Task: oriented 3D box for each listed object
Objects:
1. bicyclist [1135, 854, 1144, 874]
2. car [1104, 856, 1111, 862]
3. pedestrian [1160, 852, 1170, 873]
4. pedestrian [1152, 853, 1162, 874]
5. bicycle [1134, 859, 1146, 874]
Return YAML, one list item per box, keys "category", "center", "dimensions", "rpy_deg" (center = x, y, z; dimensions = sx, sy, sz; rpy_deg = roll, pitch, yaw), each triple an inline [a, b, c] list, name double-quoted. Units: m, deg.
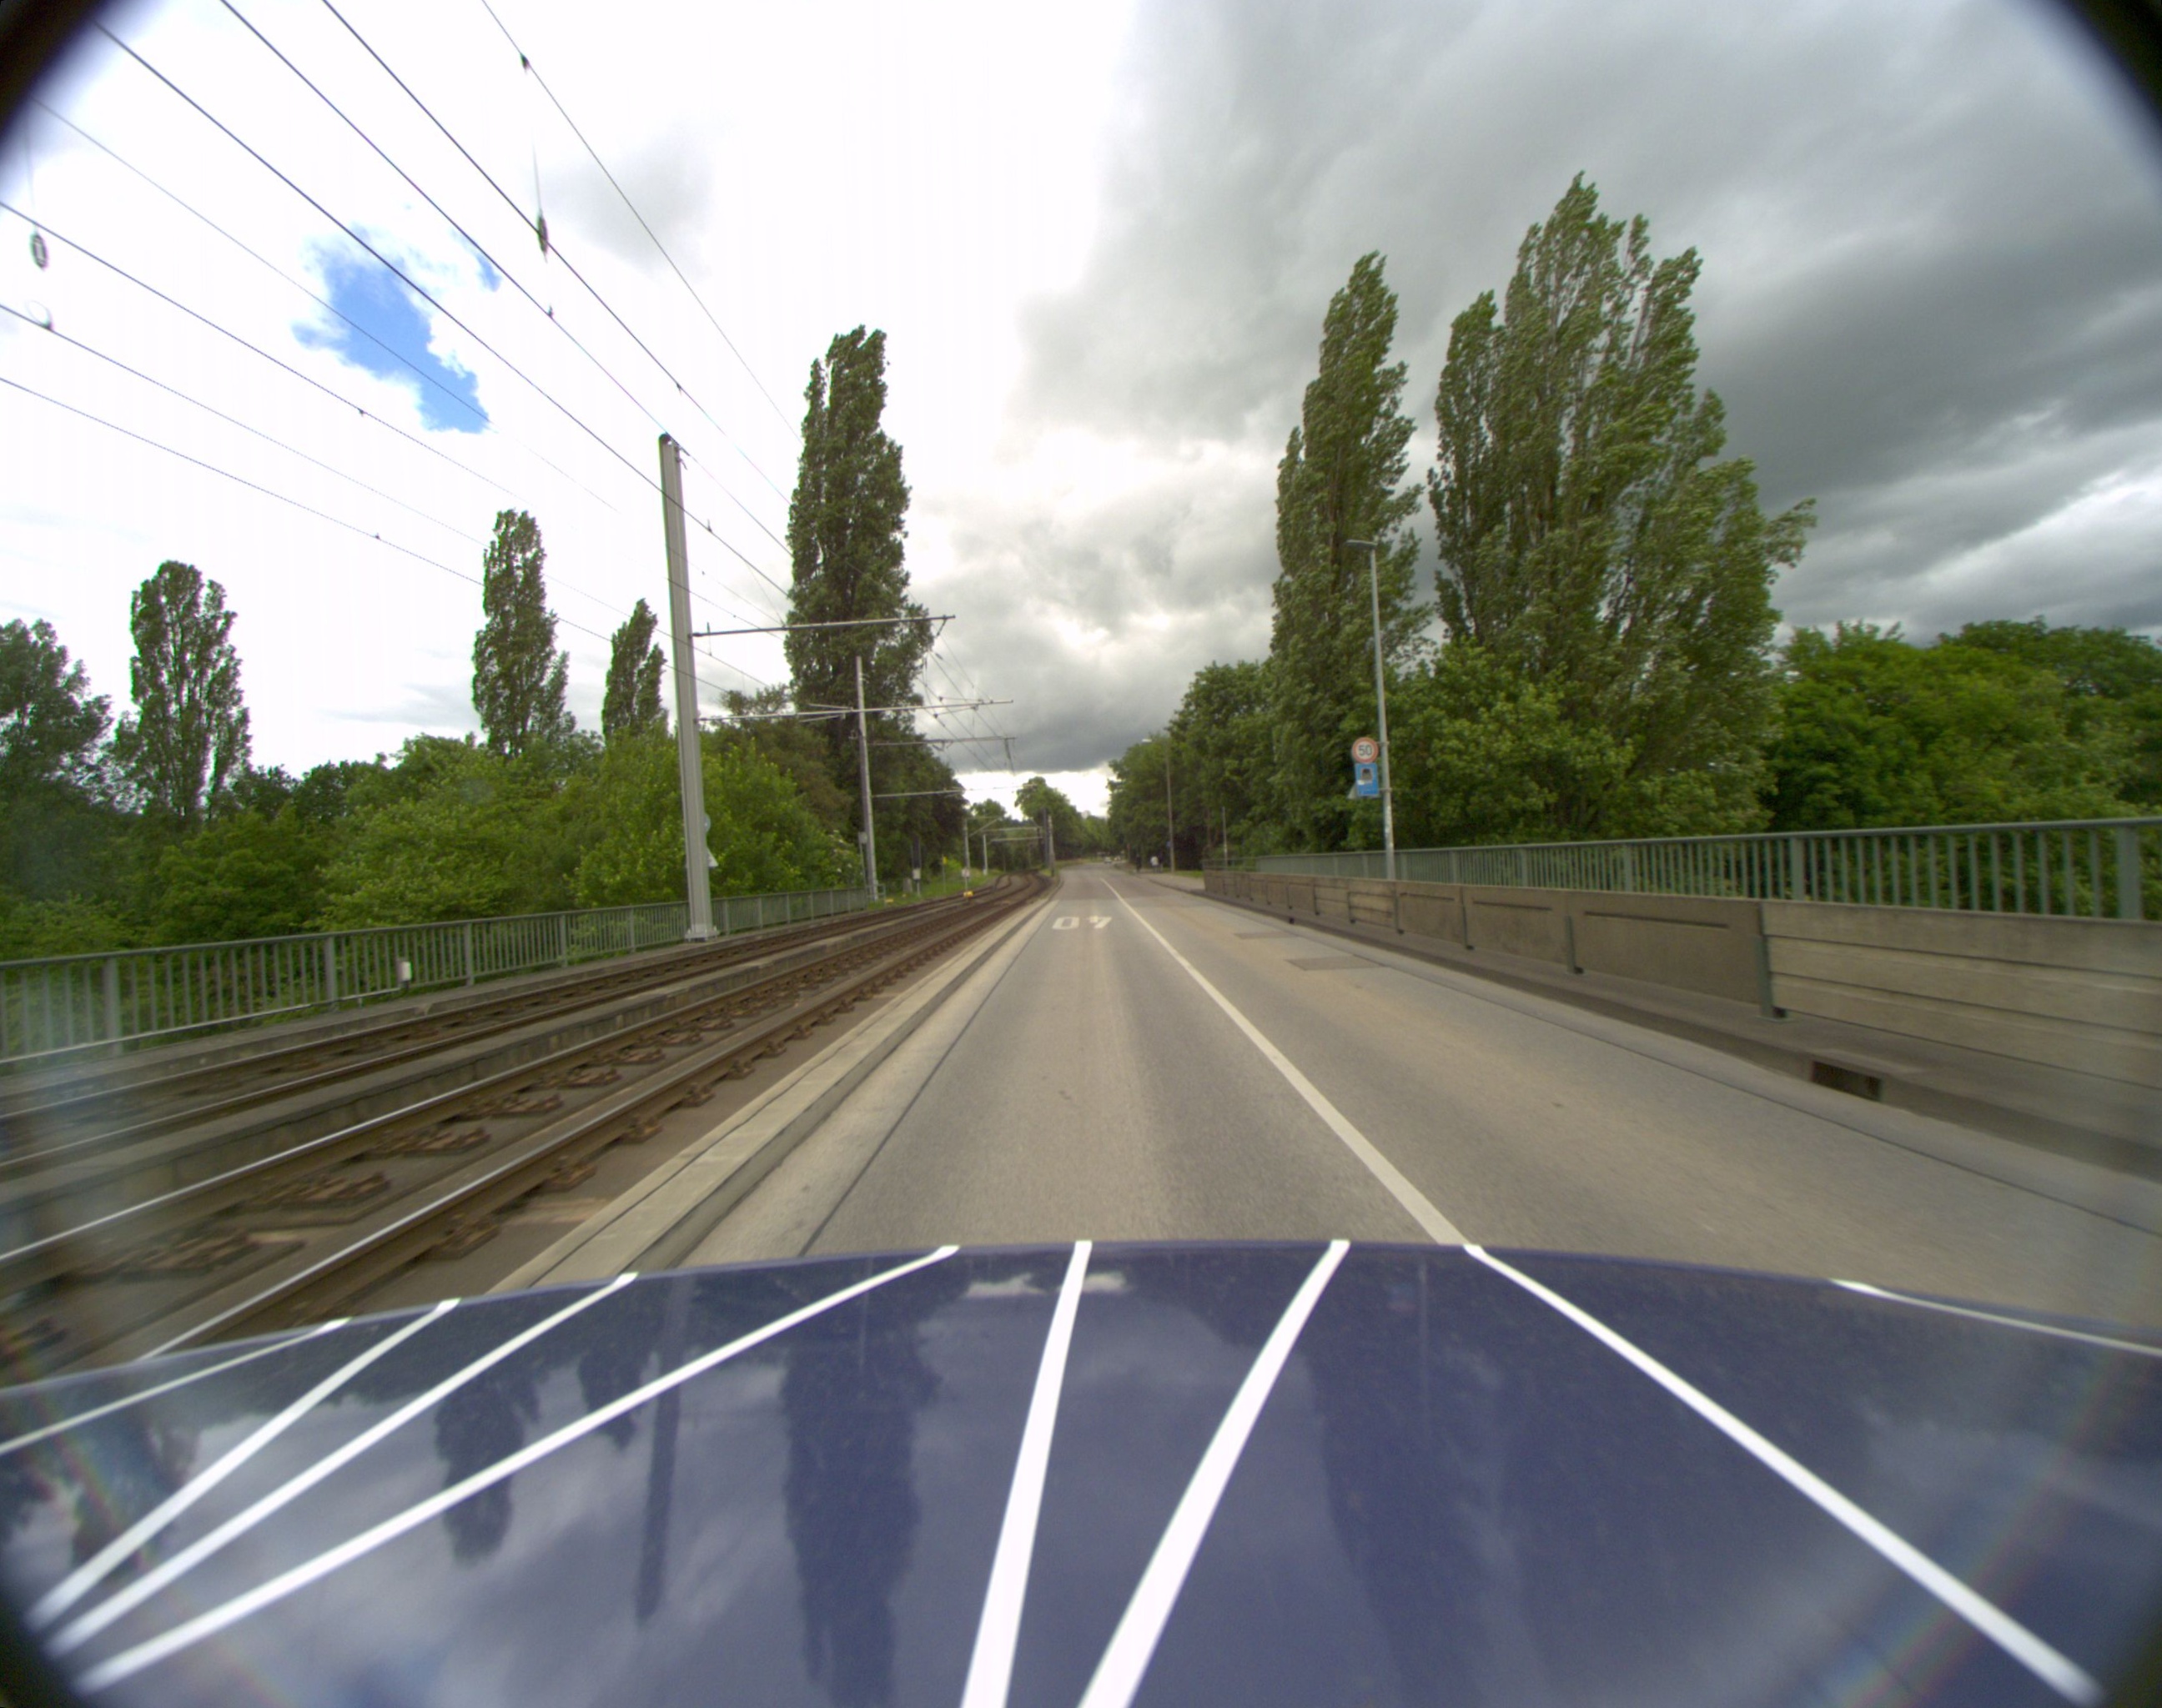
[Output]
- category: "bicyclist"
  center: [5.828, 1.025, 75.418]
  dimensions: [0.688, 1.936, 0.835]
  rpy_deg: [-4, 0, -4]
- category: "car"
  center: [7.122, 1.295, 202.874]
  dimensions: [1.799, 1.483, 4.180]
  rpy_deg: [-1, 0, 0]
- category: "pedestrian"
  center: [7.366, 0.757, 66.470]
  dimensions: [0.588, 1.792, 0.822]
  rpy_deg: [-5, 0, -1]
- category: "pedestrian"
  center: [6.676, 0.844, 66.464]
  dimensions: [0.552, 1.755, 0.858]
  rpy_deg: [-7, 0, -1]
- category: "bicycle"
  center: [5.850, 1.230, 75.246]
  dimensions: [0.700, 1.324, 2.279]
  rpy_deg: [-5, 2, -4]
